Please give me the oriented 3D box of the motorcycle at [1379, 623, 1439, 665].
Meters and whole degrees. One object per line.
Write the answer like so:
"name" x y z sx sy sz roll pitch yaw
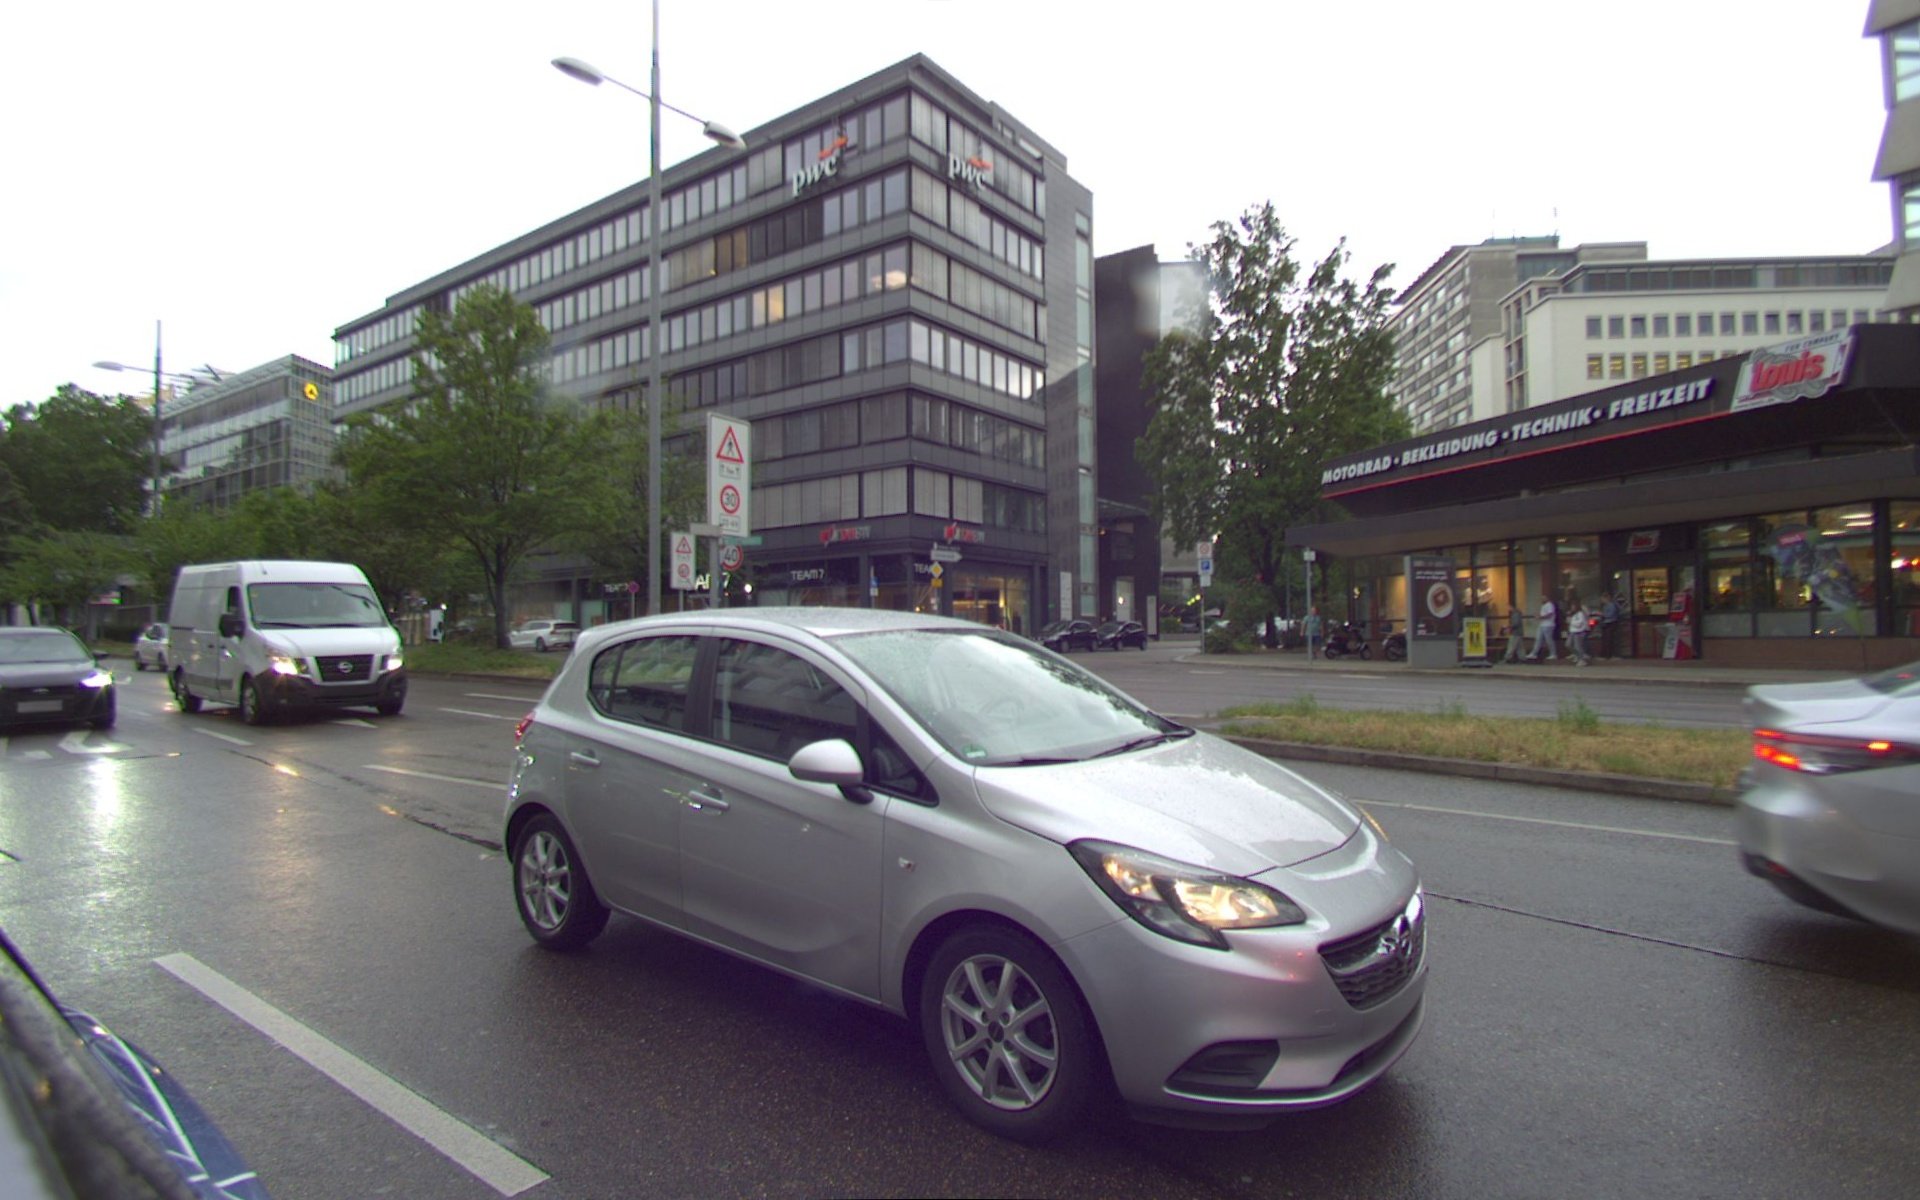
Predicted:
"motorcycle" 13.838 1.348 31.220 1.646 1.242 0.360 -1 -1 2

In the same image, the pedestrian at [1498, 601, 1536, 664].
"pedestrian" 14.768 0.859 26.830 0.605 1.623 0.614 0 -1 -29

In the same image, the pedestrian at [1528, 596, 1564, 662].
"pedestrian" 15.747 0.777 27.190 0.605 1.757 0.560 0 -1 -29

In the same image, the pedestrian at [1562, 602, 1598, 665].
"pedestrian" 15.924 0.863 25.984 0.532 1.582 0.560 0 -1 -29

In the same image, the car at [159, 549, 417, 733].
"car" -10.773 0.608 16.024 5.475 2.459 1.927 -2 -1 40

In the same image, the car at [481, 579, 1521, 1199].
"car" -0.161 0.721 3.964 3.872 1.446 1.631 -2 -1 40

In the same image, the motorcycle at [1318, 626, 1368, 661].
"motorcycle" 12.970 1.460 34.273 1.600 1.153 0.360 -1 -1 -8

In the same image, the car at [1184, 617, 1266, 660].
"car" 10.673 1.509 40.632 1.847 1.596 3.716 -2 -1 37

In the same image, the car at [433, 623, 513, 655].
"car" -24.593 1.970 51.094 4.100 1.518 1.975 -2 -1 36

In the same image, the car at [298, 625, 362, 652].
"car" -37.939 2.291 60.905 3.992 1.518 1.975 -2 -1 36

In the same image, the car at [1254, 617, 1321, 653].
"car" 15.570 1.631 48.033 1.847 1.596 3.716 -2 -1 37

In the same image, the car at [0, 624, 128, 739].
"car" -13.717 1.108 14.586 4.087 1.446 1.755 -2 -1 37

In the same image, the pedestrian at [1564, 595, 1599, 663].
"pedestrian" 16.469 0.768 26.806 0.532 1.757 0.560 0 -1 -29

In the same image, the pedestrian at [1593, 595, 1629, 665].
"pedestrian" 16.752 0.764 26.045 0.532 1.757 0.560 0 -1 -29

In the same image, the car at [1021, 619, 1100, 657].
"car" 4.545 1.663 45.465 1.847 1.596 3.716 -2 -1 37

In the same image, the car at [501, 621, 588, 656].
"car" -19.405 1.788 47.243 3.992 1.518 1.975 -2 -1 36

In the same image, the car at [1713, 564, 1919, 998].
"car" 5.401 0.598 3.205 4.771 1.545 1.847 -2 -1 39

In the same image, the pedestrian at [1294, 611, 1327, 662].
"pedestrian" 11.539 1.195 33.302 0.721 1.661 0.702 -1 -1 -19

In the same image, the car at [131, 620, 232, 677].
"car" -24.264 1.480 31.523 3.492 1.630 1.744 -2 -1 39

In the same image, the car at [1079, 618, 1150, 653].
"car" 7.579 1.719 49.461 1.847 1.596 3.716 -2 -1 37

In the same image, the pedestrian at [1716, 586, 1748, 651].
"pedestrian" 20.957 0.493 27.469 0.501 1.731 0.447 -1 -1 -16
